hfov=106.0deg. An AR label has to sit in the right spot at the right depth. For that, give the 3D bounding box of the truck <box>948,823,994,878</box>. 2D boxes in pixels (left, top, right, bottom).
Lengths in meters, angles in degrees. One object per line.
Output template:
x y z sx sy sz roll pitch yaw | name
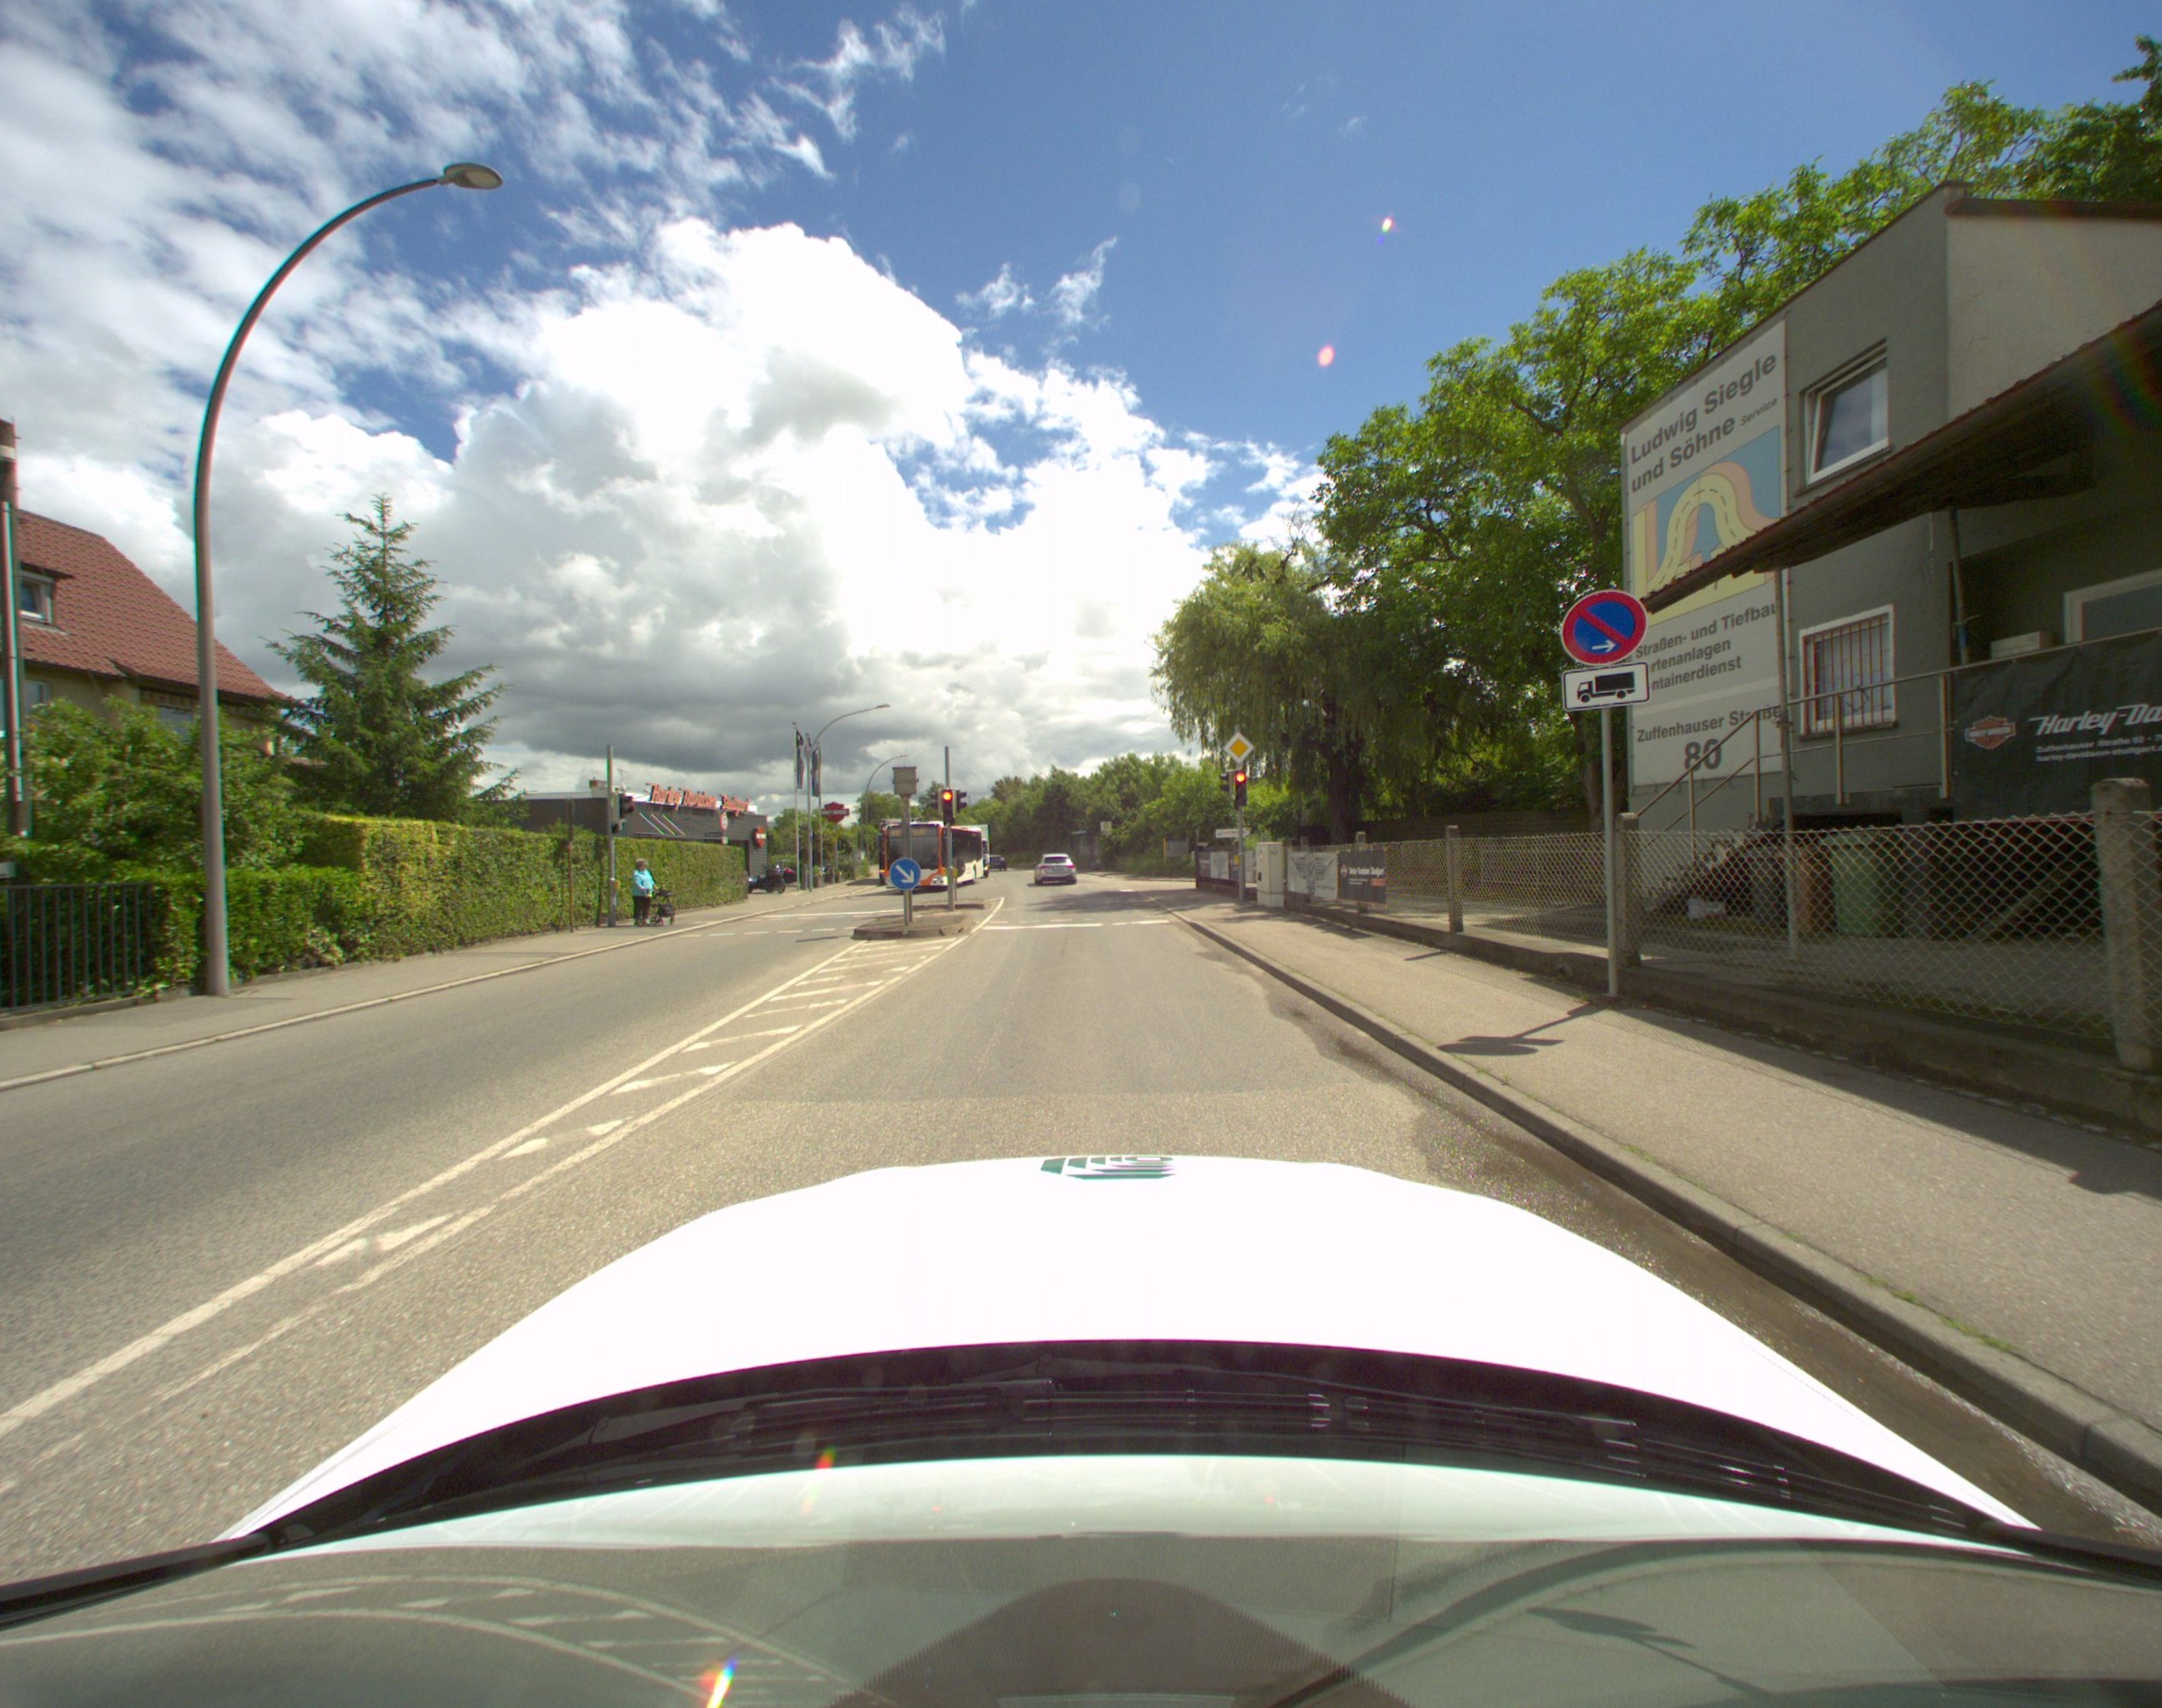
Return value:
-7.794 -0.217 58.176 2.837 3.540 9.699 -2 0 -7 | truck

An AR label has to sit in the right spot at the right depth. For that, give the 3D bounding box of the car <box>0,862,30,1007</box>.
-12.211 0.881 6.508 2.149 1.507 4.261 -2 0 -4 | car

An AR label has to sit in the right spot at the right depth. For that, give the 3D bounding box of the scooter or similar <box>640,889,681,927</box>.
-9.846 1.254 19.093 0.610 0.831 0.659 0 0 -1 | scooter or similar

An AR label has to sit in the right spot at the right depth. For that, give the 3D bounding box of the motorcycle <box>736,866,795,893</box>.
-14.320 1.162 36.971 2.478 1.218 0.931 -1 -1 21 | motorcycle

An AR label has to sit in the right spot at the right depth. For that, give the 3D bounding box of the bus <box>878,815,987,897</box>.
-6.844 0.045 39.791 2.768 3.266 12.124 -3 0 1 | bus

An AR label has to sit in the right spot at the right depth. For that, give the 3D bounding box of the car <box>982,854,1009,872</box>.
-7.781 0.775 73.591 1.887 1.508 3.982 -1 0 -13 | car

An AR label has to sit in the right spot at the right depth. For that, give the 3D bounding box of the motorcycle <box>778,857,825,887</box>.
-15.650 1.005 45.611 2.282 1.683 1.047 -1 -1 21 | motorcycle

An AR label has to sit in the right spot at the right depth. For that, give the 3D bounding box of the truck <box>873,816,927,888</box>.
-11.310 -0.087 51.648 2.427 4.131 9.127 0 -1 -7 | truck

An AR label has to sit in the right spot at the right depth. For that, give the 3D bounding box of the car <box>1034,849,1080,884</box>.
-1.194 0.567 38.352 1.882 1.508 3.992 -2 0 -6 | car

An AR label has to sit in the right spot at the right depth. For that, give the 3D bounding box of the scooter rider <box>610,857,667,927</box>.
-10.381 0.868 19.128 0.876 1.589 0.795 0 0 -2 | scooter rider
